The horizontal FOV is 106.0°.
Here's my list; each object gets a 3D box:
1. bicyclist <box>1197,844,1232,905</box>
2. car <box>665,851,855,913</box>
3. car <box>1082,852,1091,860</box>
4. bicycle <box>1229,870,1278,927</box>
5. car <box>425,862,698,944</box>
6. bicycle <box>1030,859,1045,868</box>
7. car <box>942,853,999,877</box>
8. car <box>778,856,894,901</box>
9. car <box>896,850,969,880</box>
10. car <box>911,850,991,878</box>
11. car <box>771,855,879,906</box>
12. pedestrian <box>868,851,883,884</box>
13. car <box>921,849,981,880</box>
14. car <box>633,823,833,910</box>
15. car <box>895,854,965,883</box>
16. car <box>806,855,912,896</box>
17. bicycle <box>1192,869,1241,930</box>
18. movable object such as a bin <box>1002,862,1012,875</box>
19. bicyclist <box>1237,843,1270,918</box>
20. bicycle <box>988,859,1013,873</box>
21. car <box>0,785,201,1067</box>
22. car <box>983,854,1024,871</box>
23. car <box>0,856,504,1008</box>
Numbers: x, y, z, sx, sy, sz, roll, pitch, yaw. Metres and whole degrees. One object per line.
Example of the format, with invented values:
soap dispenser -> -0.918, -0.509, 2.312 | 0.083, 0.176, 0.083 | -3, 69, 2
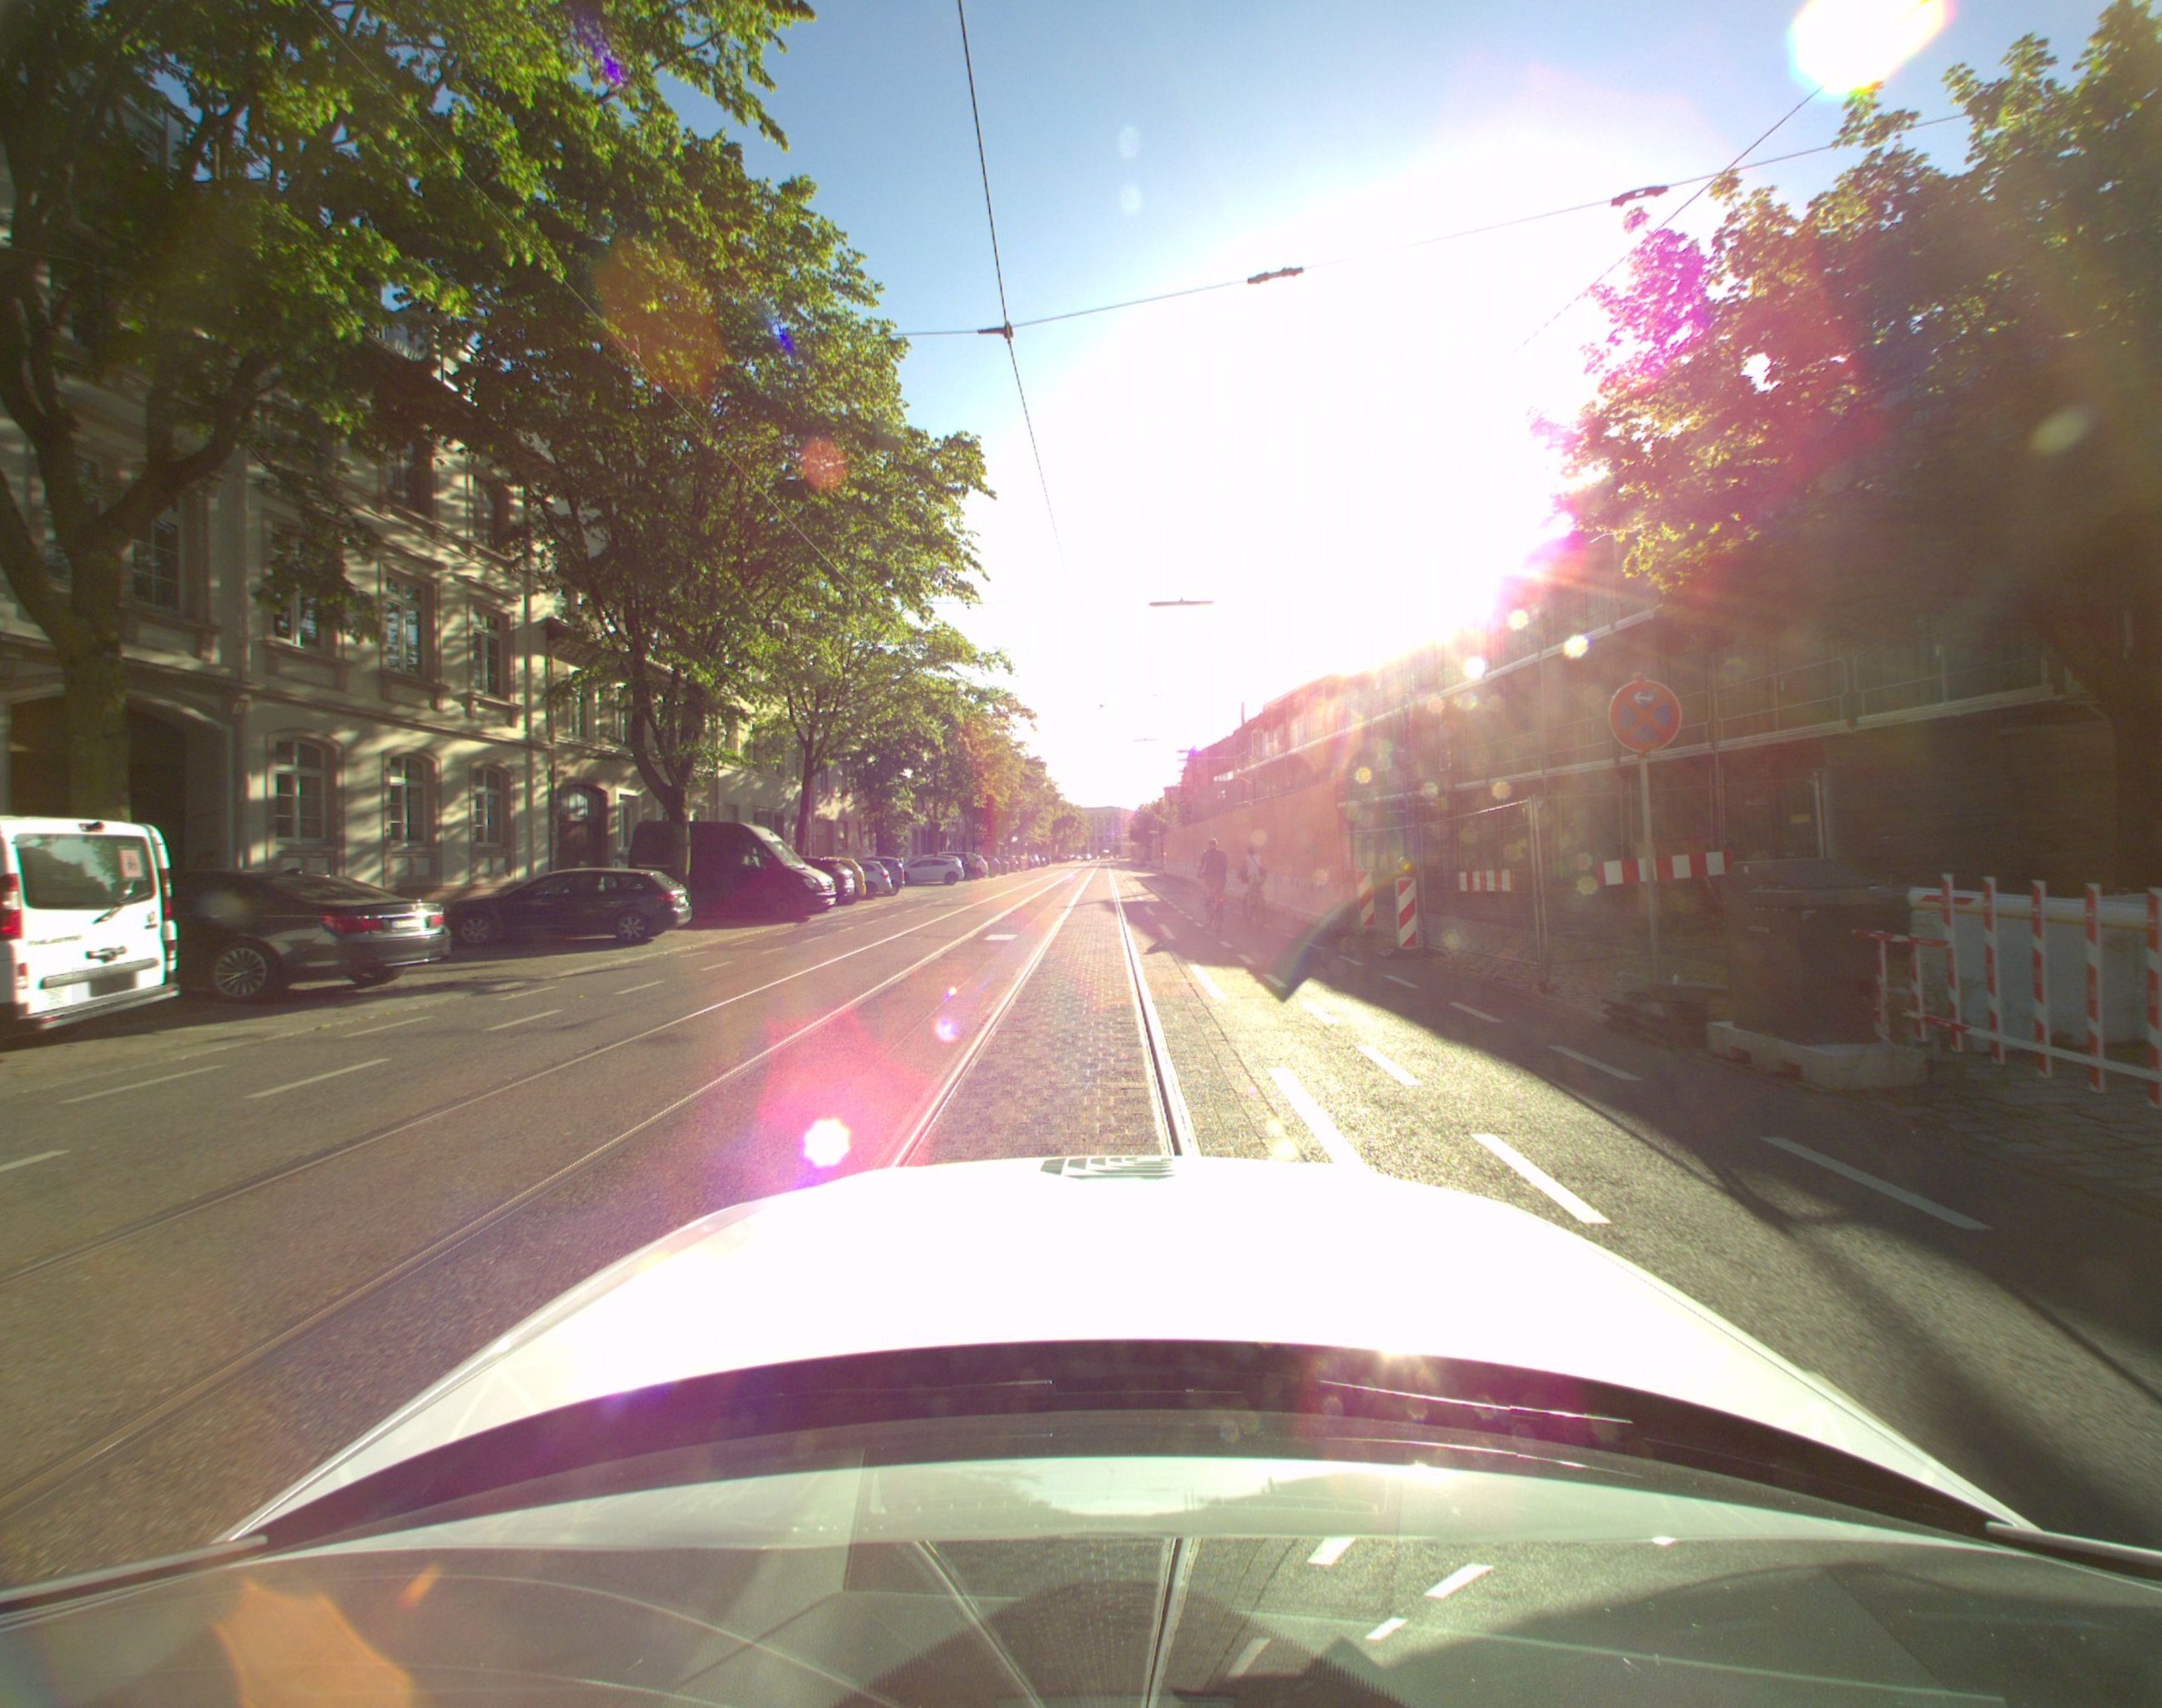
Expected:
bicyclist -> 2.776, 0.420, 16.964 | 0.649, 1.238, 0.353 | -2, 0, -1
car -> -9.499, 0.795, 24.450 | 4.814, 1.724, 2.163 | -1, 0, -1
car -> 1.233, 0.537, 184.270 | 1.921, 1.629, 4.250 | -4, 1, 1
bicycle -> 3.777, 0.951, 18.010 | 0.555, 1.127, 2.275 | -2, 0, -1
car -> -9.874, 0.914, 15.830 | 4.091, 1.453, 1.663 | 1, -1, -14
bicycle -> -5.716, 1.263, 107.544 | 1.970, 1.144, 0.490 | 1, -1, -17
car -> -8.148, 0.787, 60.270 | 3.919, 1.609, 1.556 | -2, 0, -35
car -> -9.399, 0.919, 31.548 | 4.165, 1.552, 1.694 | -2, 0, -15
car -> -9.118, 0.687, 49.984 | 4.010, 1.656, 1.794 | 2, 0, -29
car -> -8.789, 0.643, 55.320 | 4.966, 1.794, 2.183 | 0, 0, -40
car -> -8.830, 0.860, 28.144 | 3.385, 1.552, 1.372 | -1, 3, -30
pedestrian -> -11.814, 0.769, 46.918 | 0.641, 1.838, 0.625 | -1, 0, 3
car -> -8.393, 0.692, 52.666 | 3.457, 1.843, 1.716 | 2, -5, -31
car -> -9.331, 0.319, 22.149 | 4.423, 2.118, 2.163 | -2, 0, -1
car -> -8.502, 0.812, 45.749 | 3.646, 1.530, 1.875 | 2, -1, -18
car -> -9.324, 0.876, 34.351 | 3.972, 1.676, 1.703 | 0, 0, 2
bicycle -> 2.827, 0.921, 17.188 | 0.665, 1.154, 2.276 | 0, 0, 1
movable object such as a bin -> -6.086, 1.197, 66.791 | 0.681, 1.078, 0.710 | 2, 0, 3
bicyclist -> 3.782, 0.574, 17.863 | 0.554, 1.613, 0.576 | -2, 0, -1
bicycle -> -6.986, 1.027, 70.557 | 1.994, 1.087, 0.568 | 4, 0, 4
car -> -10.306, 0.557, 5.863 | 4.944, 2.013, 2.060 | -1, 0, -22
car -> -7.610, 0.866, 79.626 | 3.630, 1.553, 1.655 | 1, 1, -25
car -> -9.953, 0.827, 9.683 | 4.684, 1.576, 1.952 | 0, 0, -3
